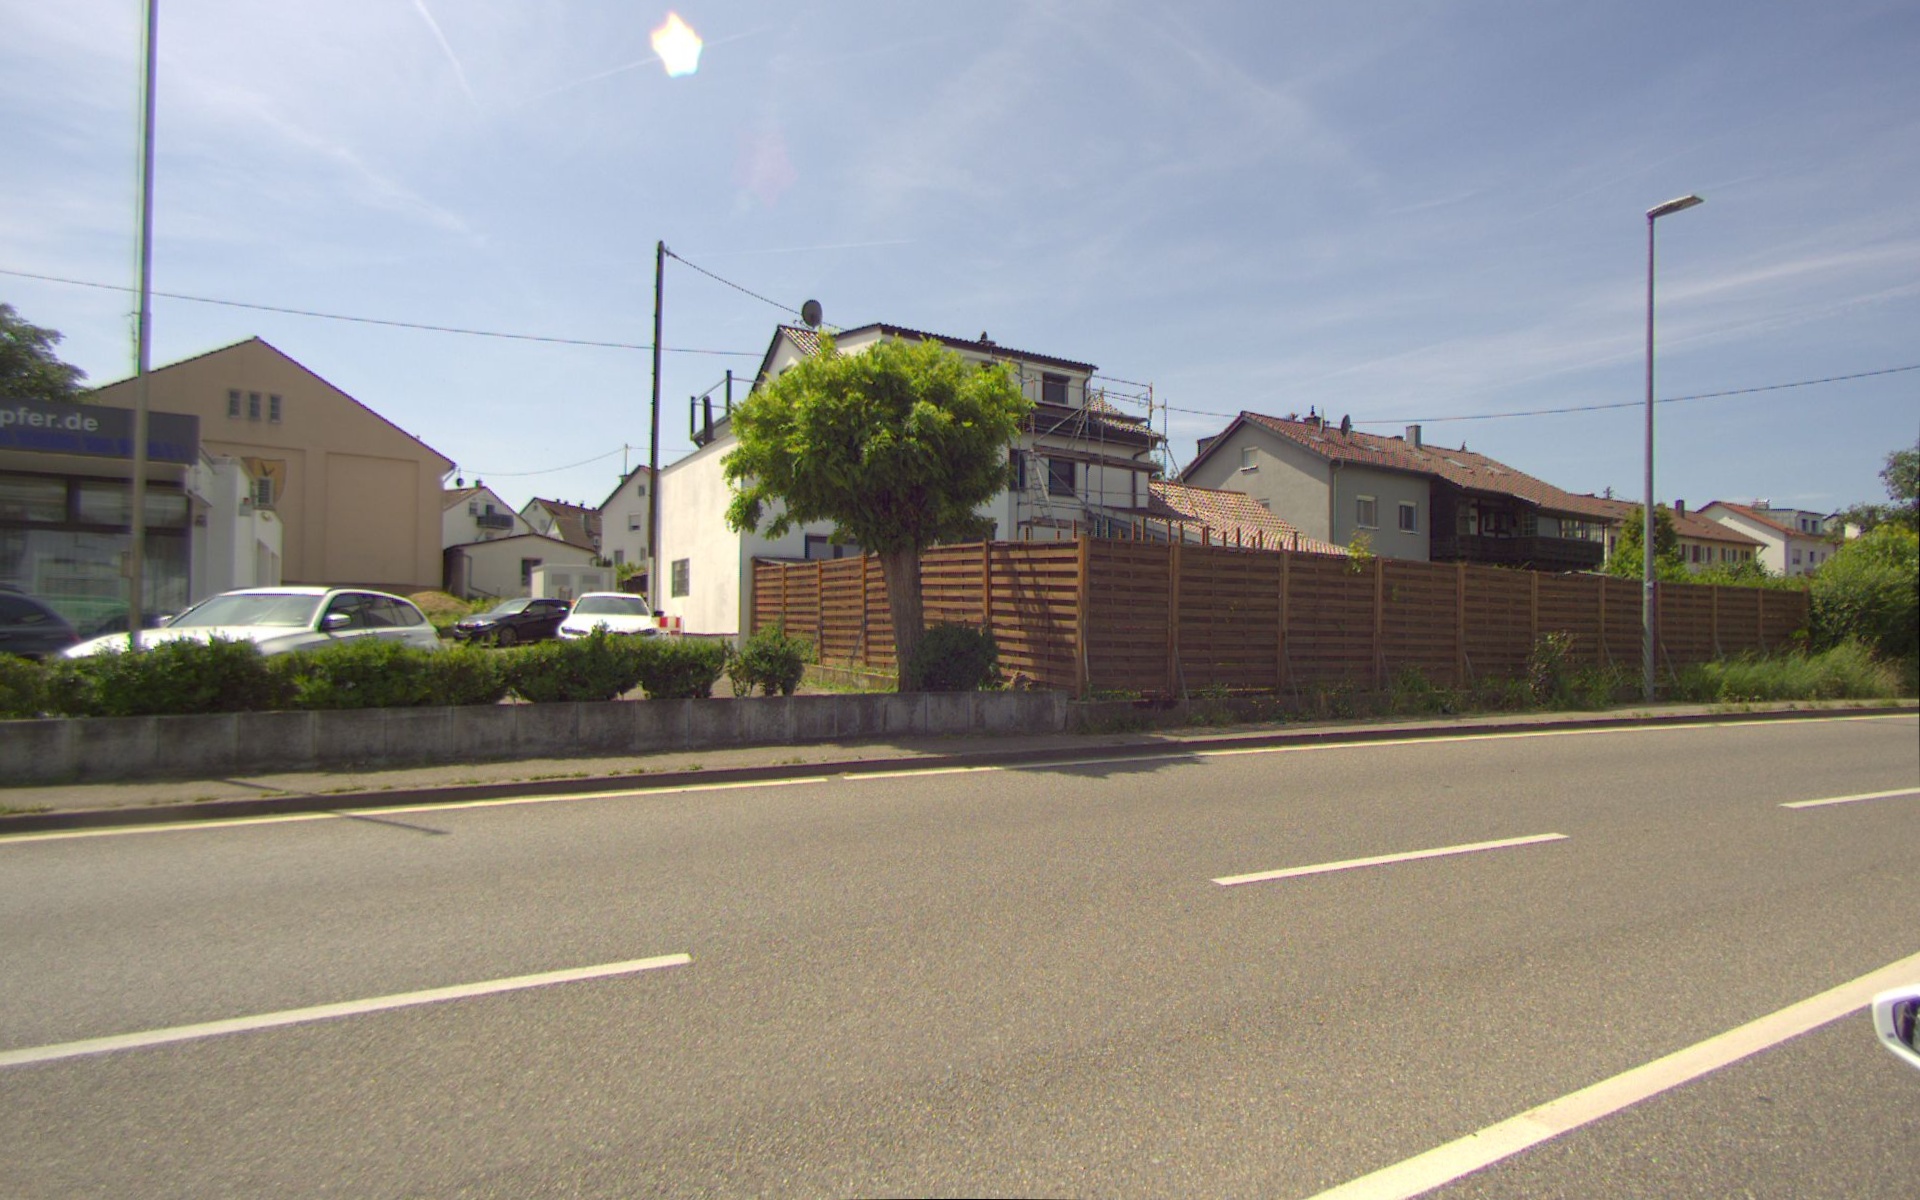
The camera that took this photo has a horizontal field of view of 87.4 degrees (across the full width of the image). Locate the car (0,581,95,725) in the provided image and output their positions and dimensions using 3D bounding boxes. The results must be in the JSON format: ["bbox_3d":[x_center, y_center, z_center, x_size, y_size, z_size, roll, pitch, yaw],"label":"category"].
[{"bbox_3d":[-10.695,0.517,9.278,1.863,1.467,4.339,2,0,-5],"label":"car"}]

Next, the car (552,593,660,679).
[{"bbox_3d":[-6.920,0.645,19.963,1.805,1.530,3.985,1,0,-17],"label":"car"}]

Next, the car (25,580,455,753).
[{"bbox_3d":[-7.423,0.599,11.024,1.822,1.467,4.339,2,0,-5],"label":"car"}]

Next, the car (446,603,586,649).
[{"bbox_3d":[-13.908,0.775,31.702,1.756,1.238,3.999,2,1,21],"label":"car"}]
